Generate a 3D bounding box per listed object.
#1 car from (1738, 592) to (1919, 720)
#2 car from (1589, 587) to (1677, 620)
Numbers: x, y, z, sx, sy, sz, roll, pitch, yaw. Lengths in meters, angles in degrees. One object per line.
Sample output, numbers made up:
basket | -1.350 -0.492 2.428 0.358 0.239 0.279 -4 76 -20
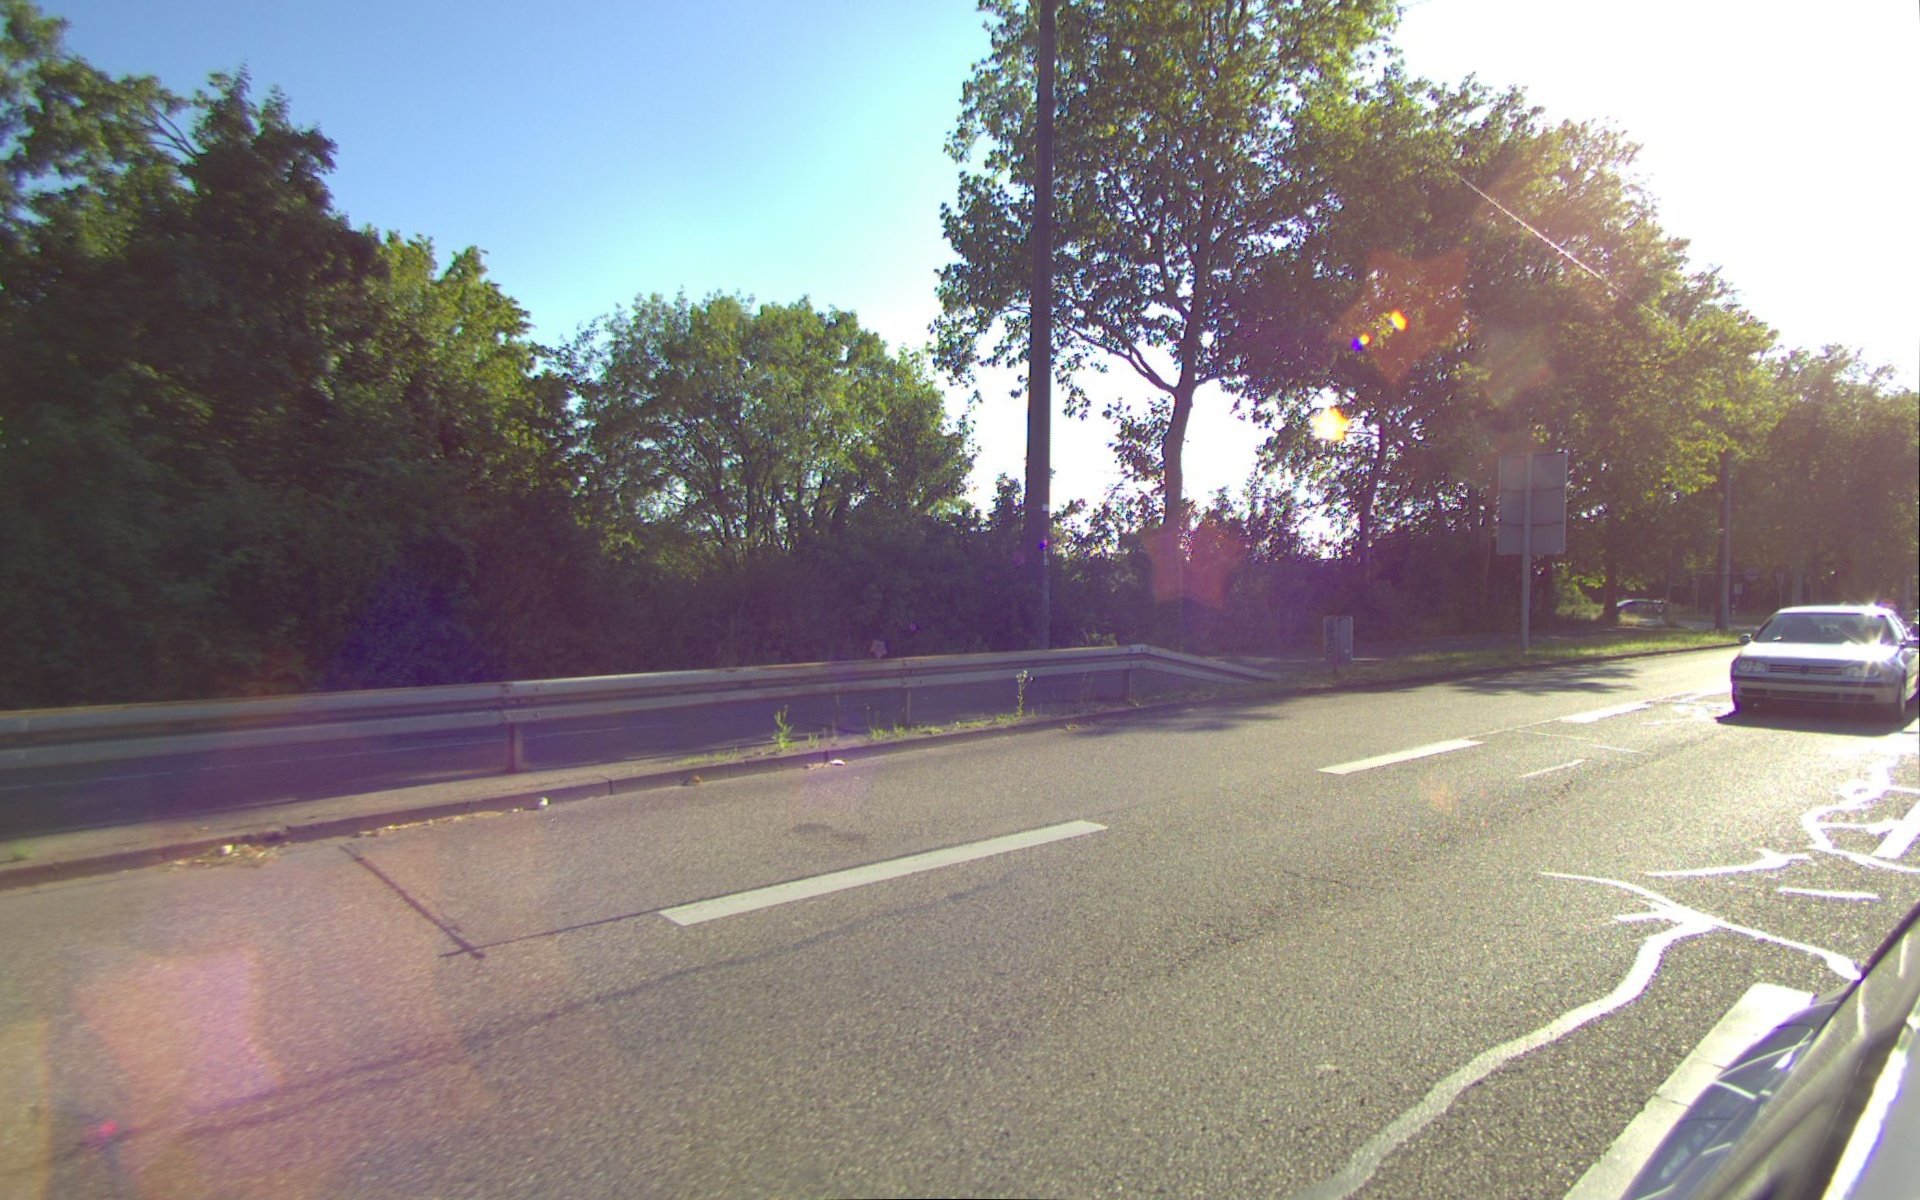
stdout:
car | 12.154 0.640 13.761 3.930 1.463 1.694 -1 1 -40
car | 37.508 0.161 56.504 3.972 1.685 1.869 2 1 33
